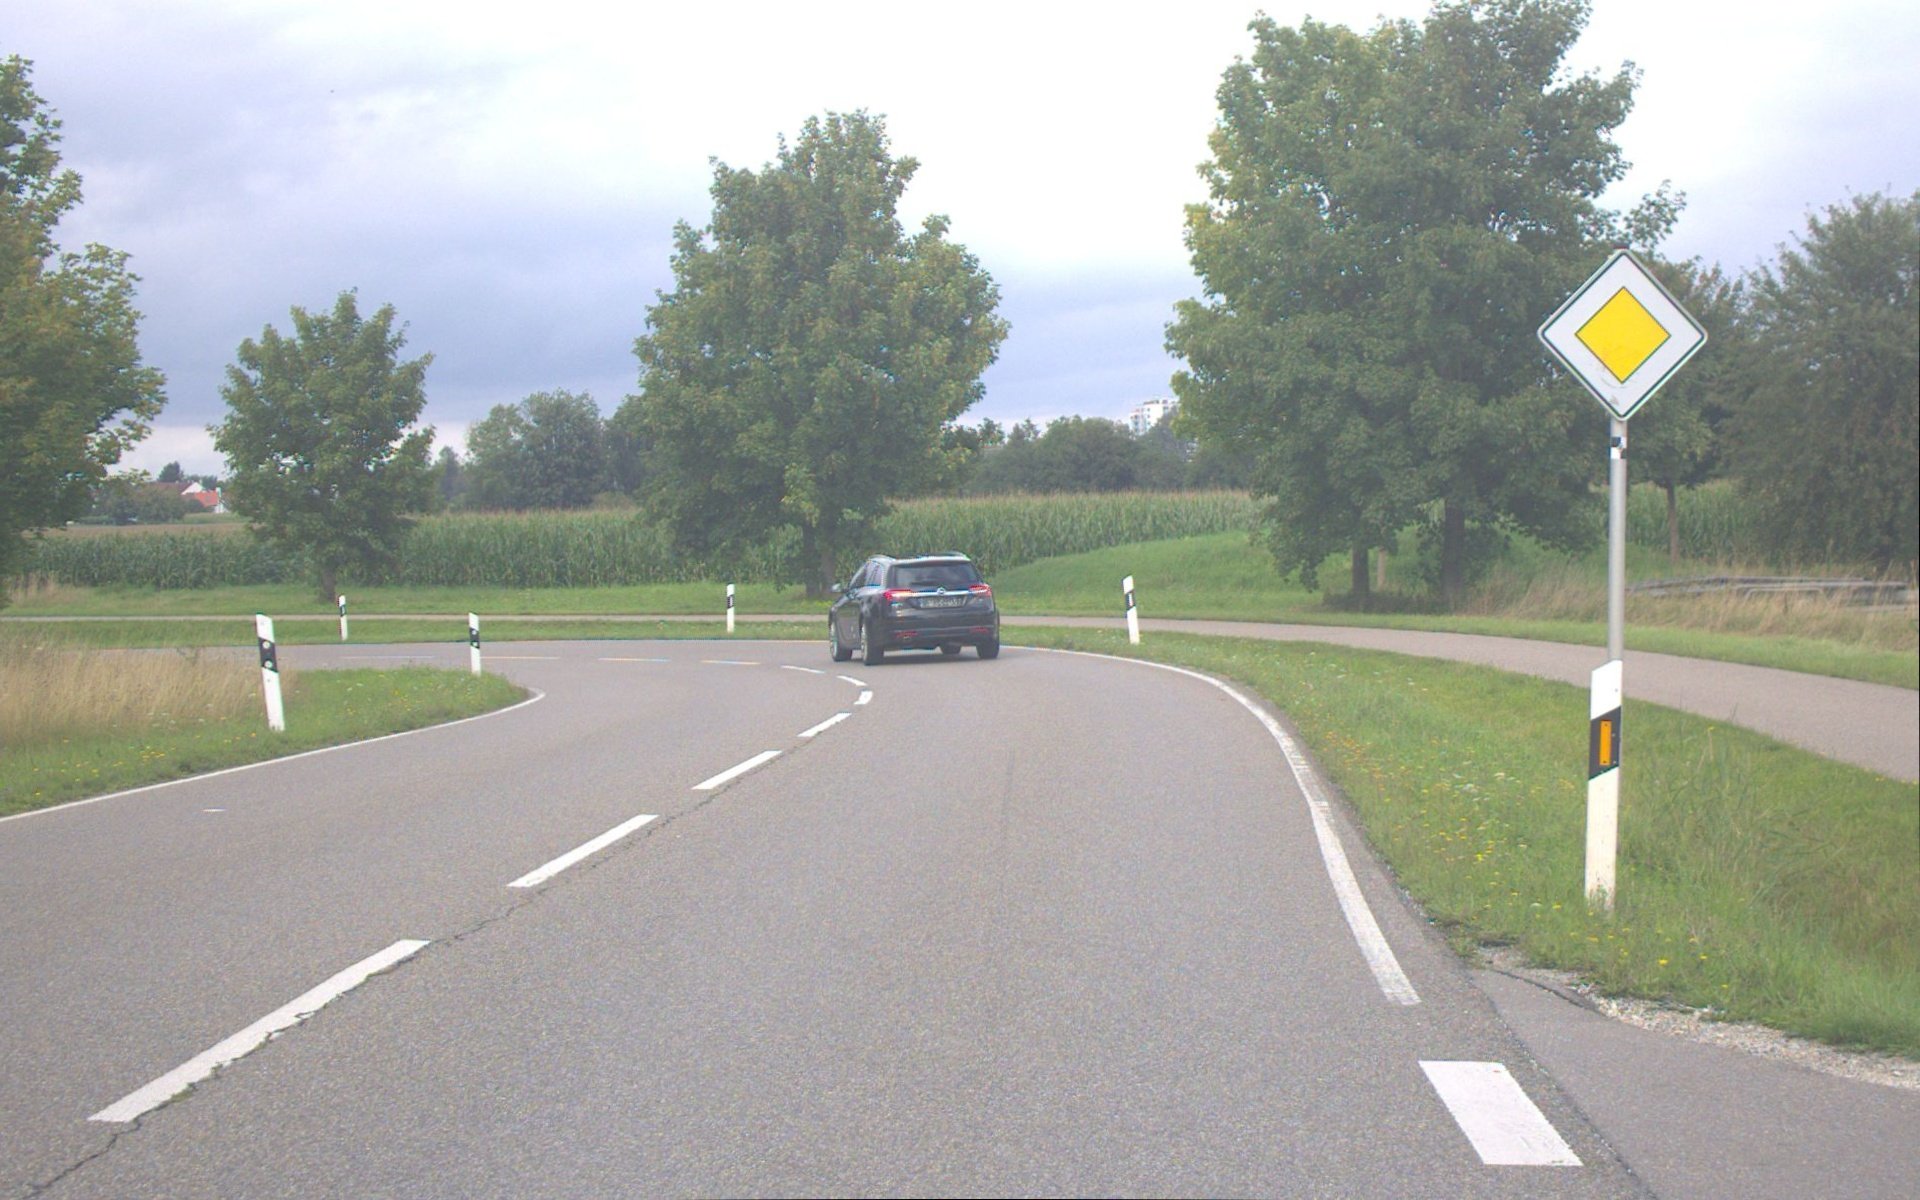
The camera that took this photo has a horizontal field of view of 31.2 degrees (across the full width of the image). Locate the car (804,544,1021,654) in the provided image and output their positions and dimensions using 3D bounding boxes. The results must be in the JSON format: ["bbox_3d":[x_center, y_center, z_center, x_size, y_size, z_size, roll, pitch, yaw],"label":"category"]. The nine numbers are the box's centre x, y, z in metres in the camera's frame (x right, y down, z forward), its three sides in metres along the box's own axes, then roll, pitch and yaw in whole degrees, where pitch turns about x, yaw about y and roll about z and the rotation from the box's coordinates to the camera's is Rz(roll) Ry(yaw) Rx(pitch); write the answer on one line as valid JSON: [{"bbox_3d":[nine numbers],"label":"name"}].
[{"bbox_3d":[-0.701,-0.043,46.919,1.841,1.412,4.001,-1,1,-18],"label":"car"}]
